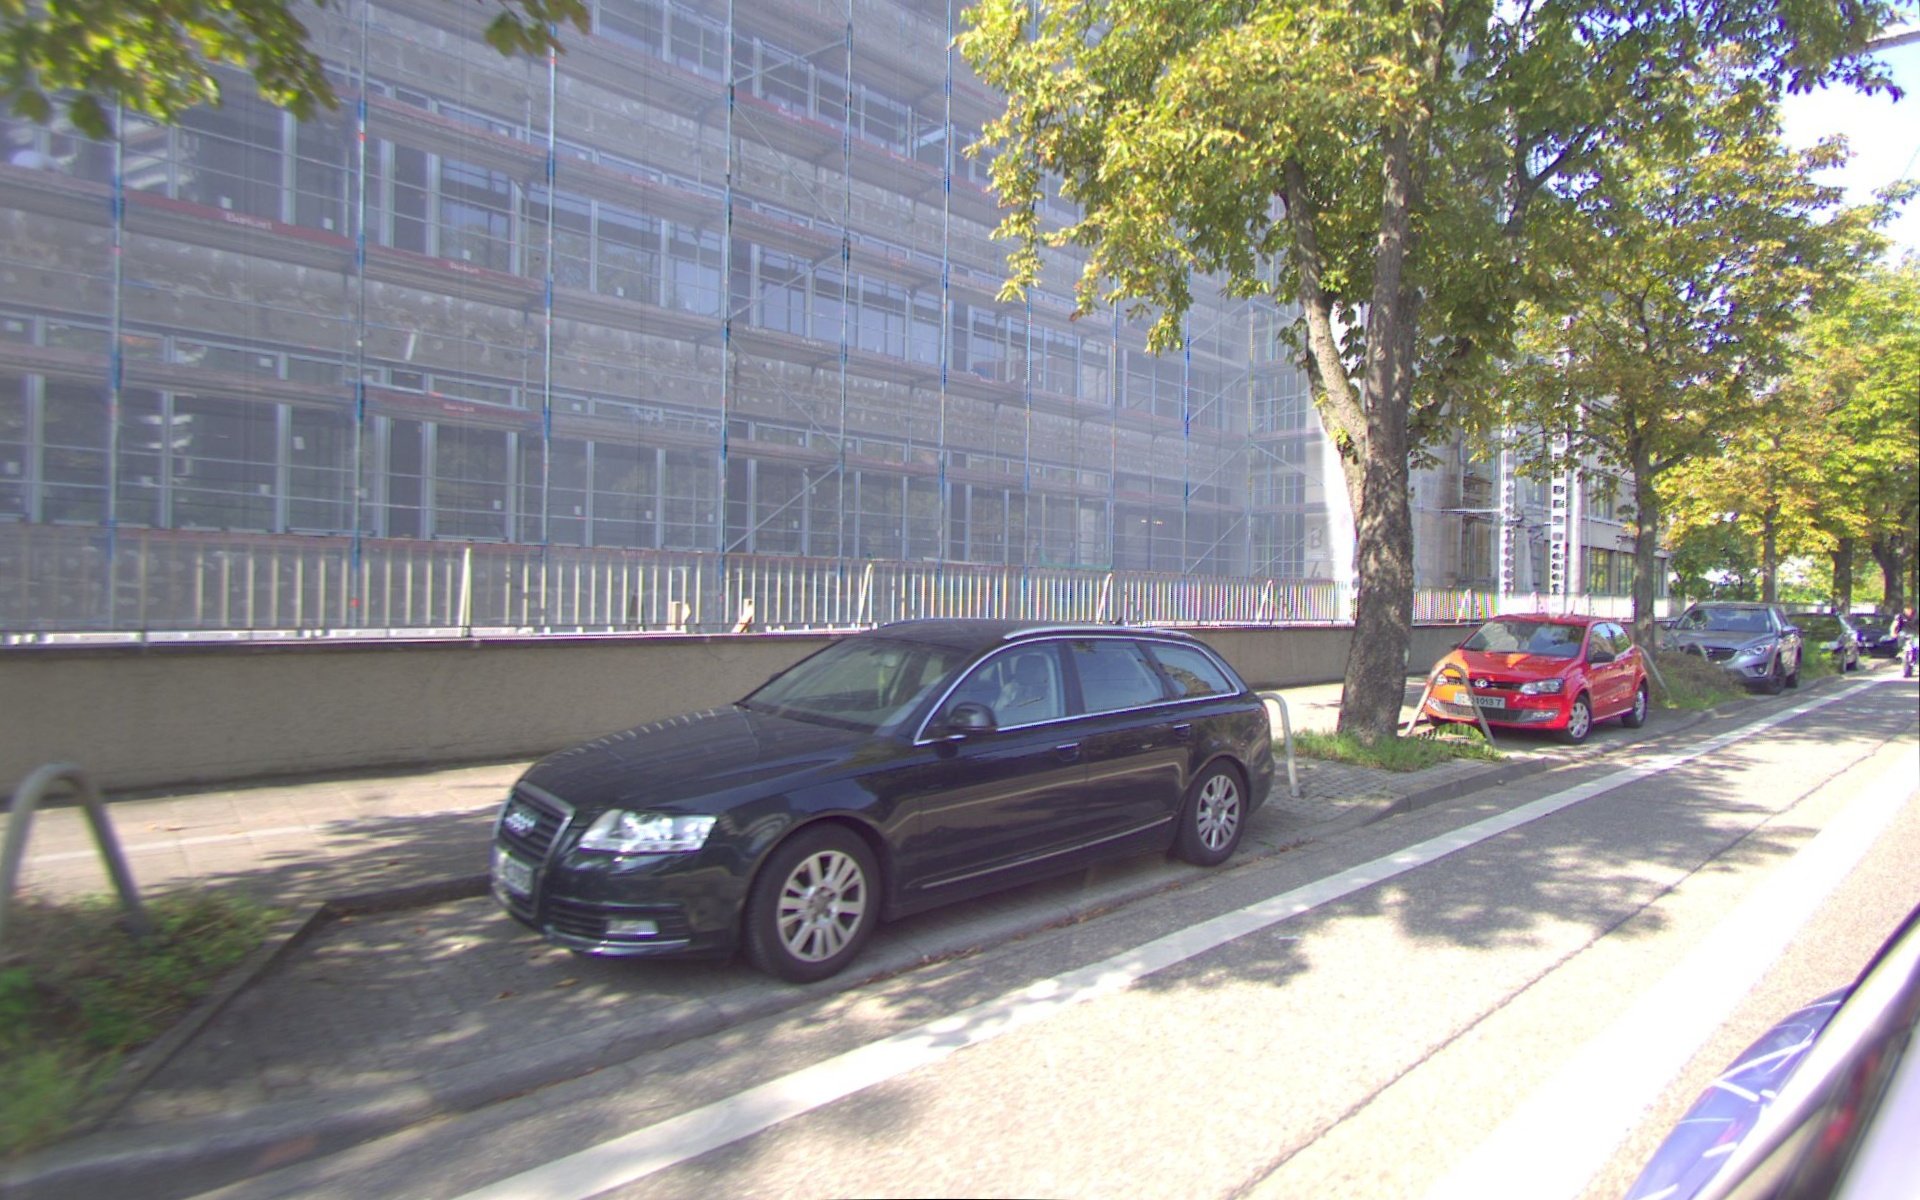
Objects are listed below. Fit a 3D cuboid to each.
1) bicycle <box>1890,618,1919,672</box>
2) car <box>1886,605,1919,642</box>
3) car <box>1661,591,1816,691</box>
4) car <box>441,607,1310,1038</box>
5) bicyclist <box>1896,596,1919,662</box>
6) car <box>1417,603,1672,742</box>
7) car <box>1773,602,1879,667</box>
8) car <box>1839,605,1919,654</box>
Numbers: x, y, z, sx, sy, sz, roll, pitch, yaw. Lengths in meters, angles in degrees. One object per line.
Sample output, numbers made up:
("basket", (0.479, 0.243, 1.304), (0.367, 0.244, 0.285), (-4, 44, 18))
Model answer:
("bicycle", (21.923, 1.003, 23.076), (2.264, 1.159, 0.788), (0, 0, -40))
("car", (40.497, 0.980, 42.796), (4.016, 1.446, 1.648), (0, 2, -43))
("car", (15.044, 0.728, 19.473), (4.323, 1.713, 1.754), (1, -1, -44))
("car", (-0.054, 0.761, 5.578), (4.743, 1.391, 1.619), (0, 1, -41))
("bicyclist", (22.199, 0.660, 23.315), (1.096, 1.488, 0.788), (1, 0, -40))
("car", (7.446, 0.784, 12.741), (3.931, 1.431, 1.619), (0, 1, -42))
("car", (22.651, 0.849, 26.435), (3.673, 1.503, 1.579), (1, 2, -42))
("car", (31.533, 0.966, 34.672), (3.713, 1.529, 1.649), (0, 2, -42))
